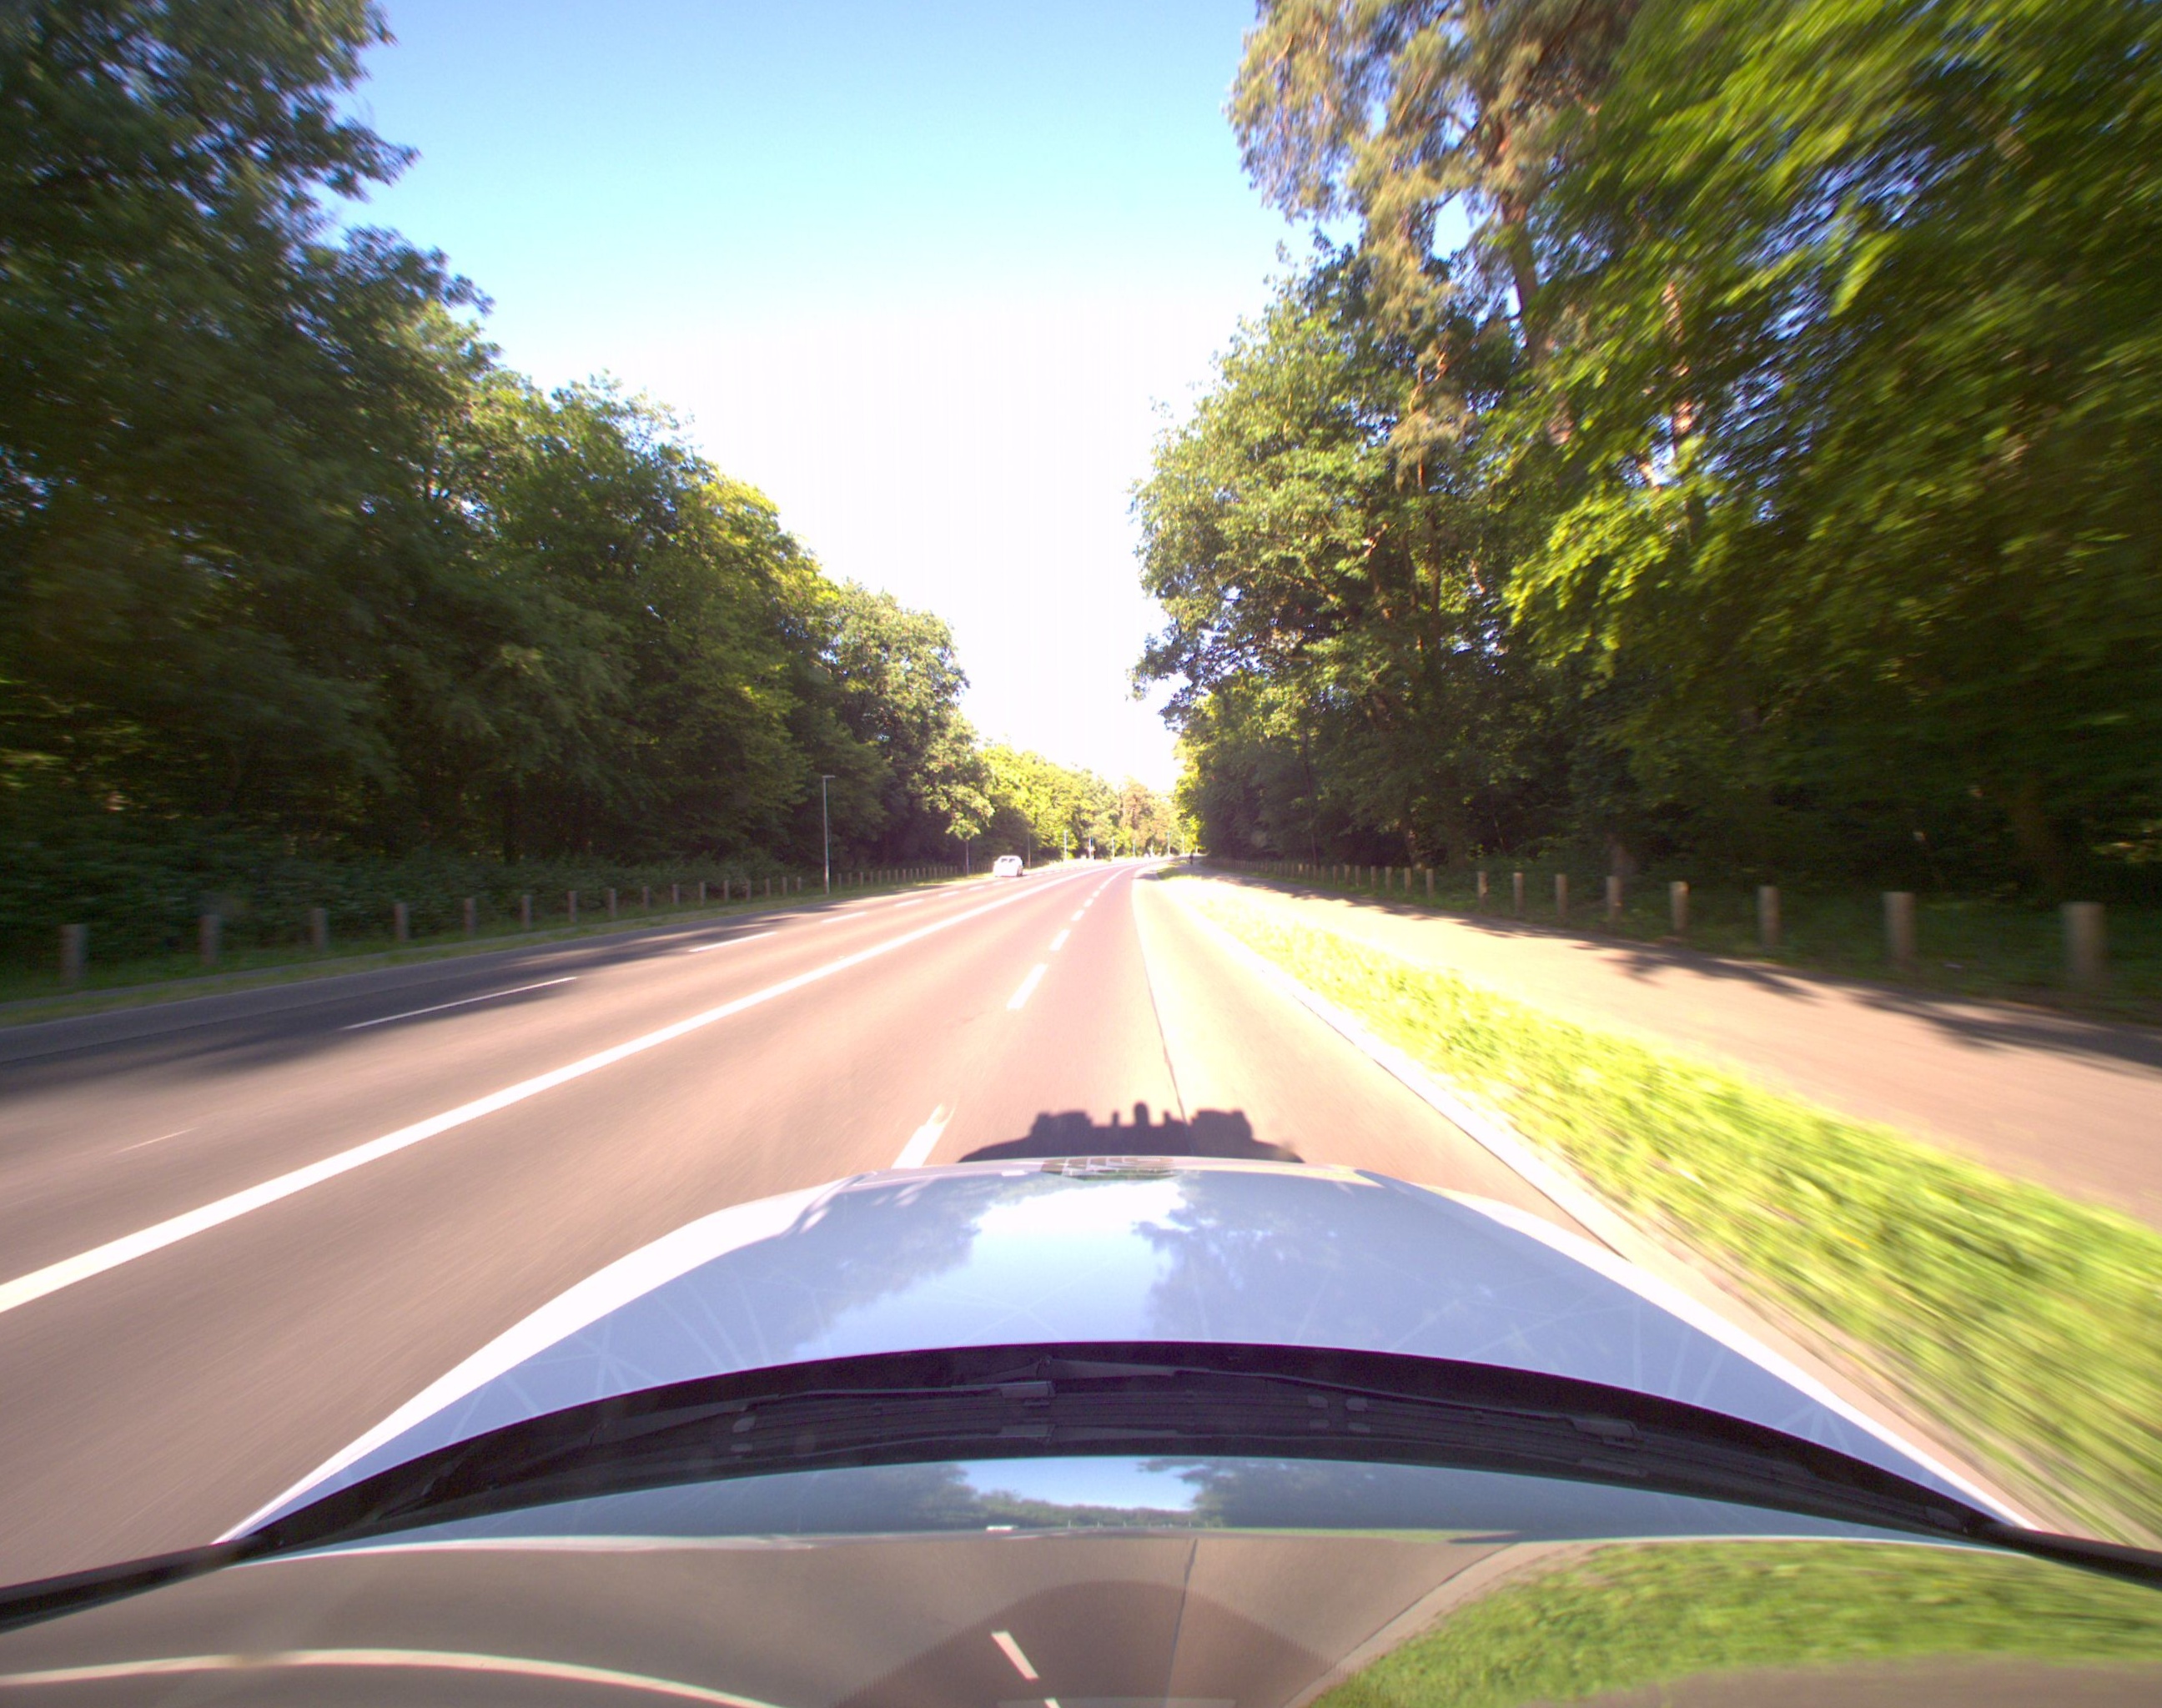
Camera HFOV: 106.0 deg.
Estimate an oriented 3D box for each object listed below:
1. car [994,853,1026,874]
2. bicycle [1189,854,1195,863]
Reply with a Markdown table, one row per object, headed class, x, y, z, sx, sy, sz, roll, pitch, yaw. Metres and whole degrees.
| class | x | y | z | sx | sy | sz | roll | pitch | yaw |
| --- | --- | --- | --- | --- | --- | --- | --- | --- | --- |
| car | -5.040 | 0.671 | 58.474 | 1.580 | 1.437 | 4.313 | 1 | 0 | 4 |
| bicycle | 13.164 | 0.569 | 96.417 | 0.708 | 1.056 | 2.057 | -1 | 0 | 8 |
